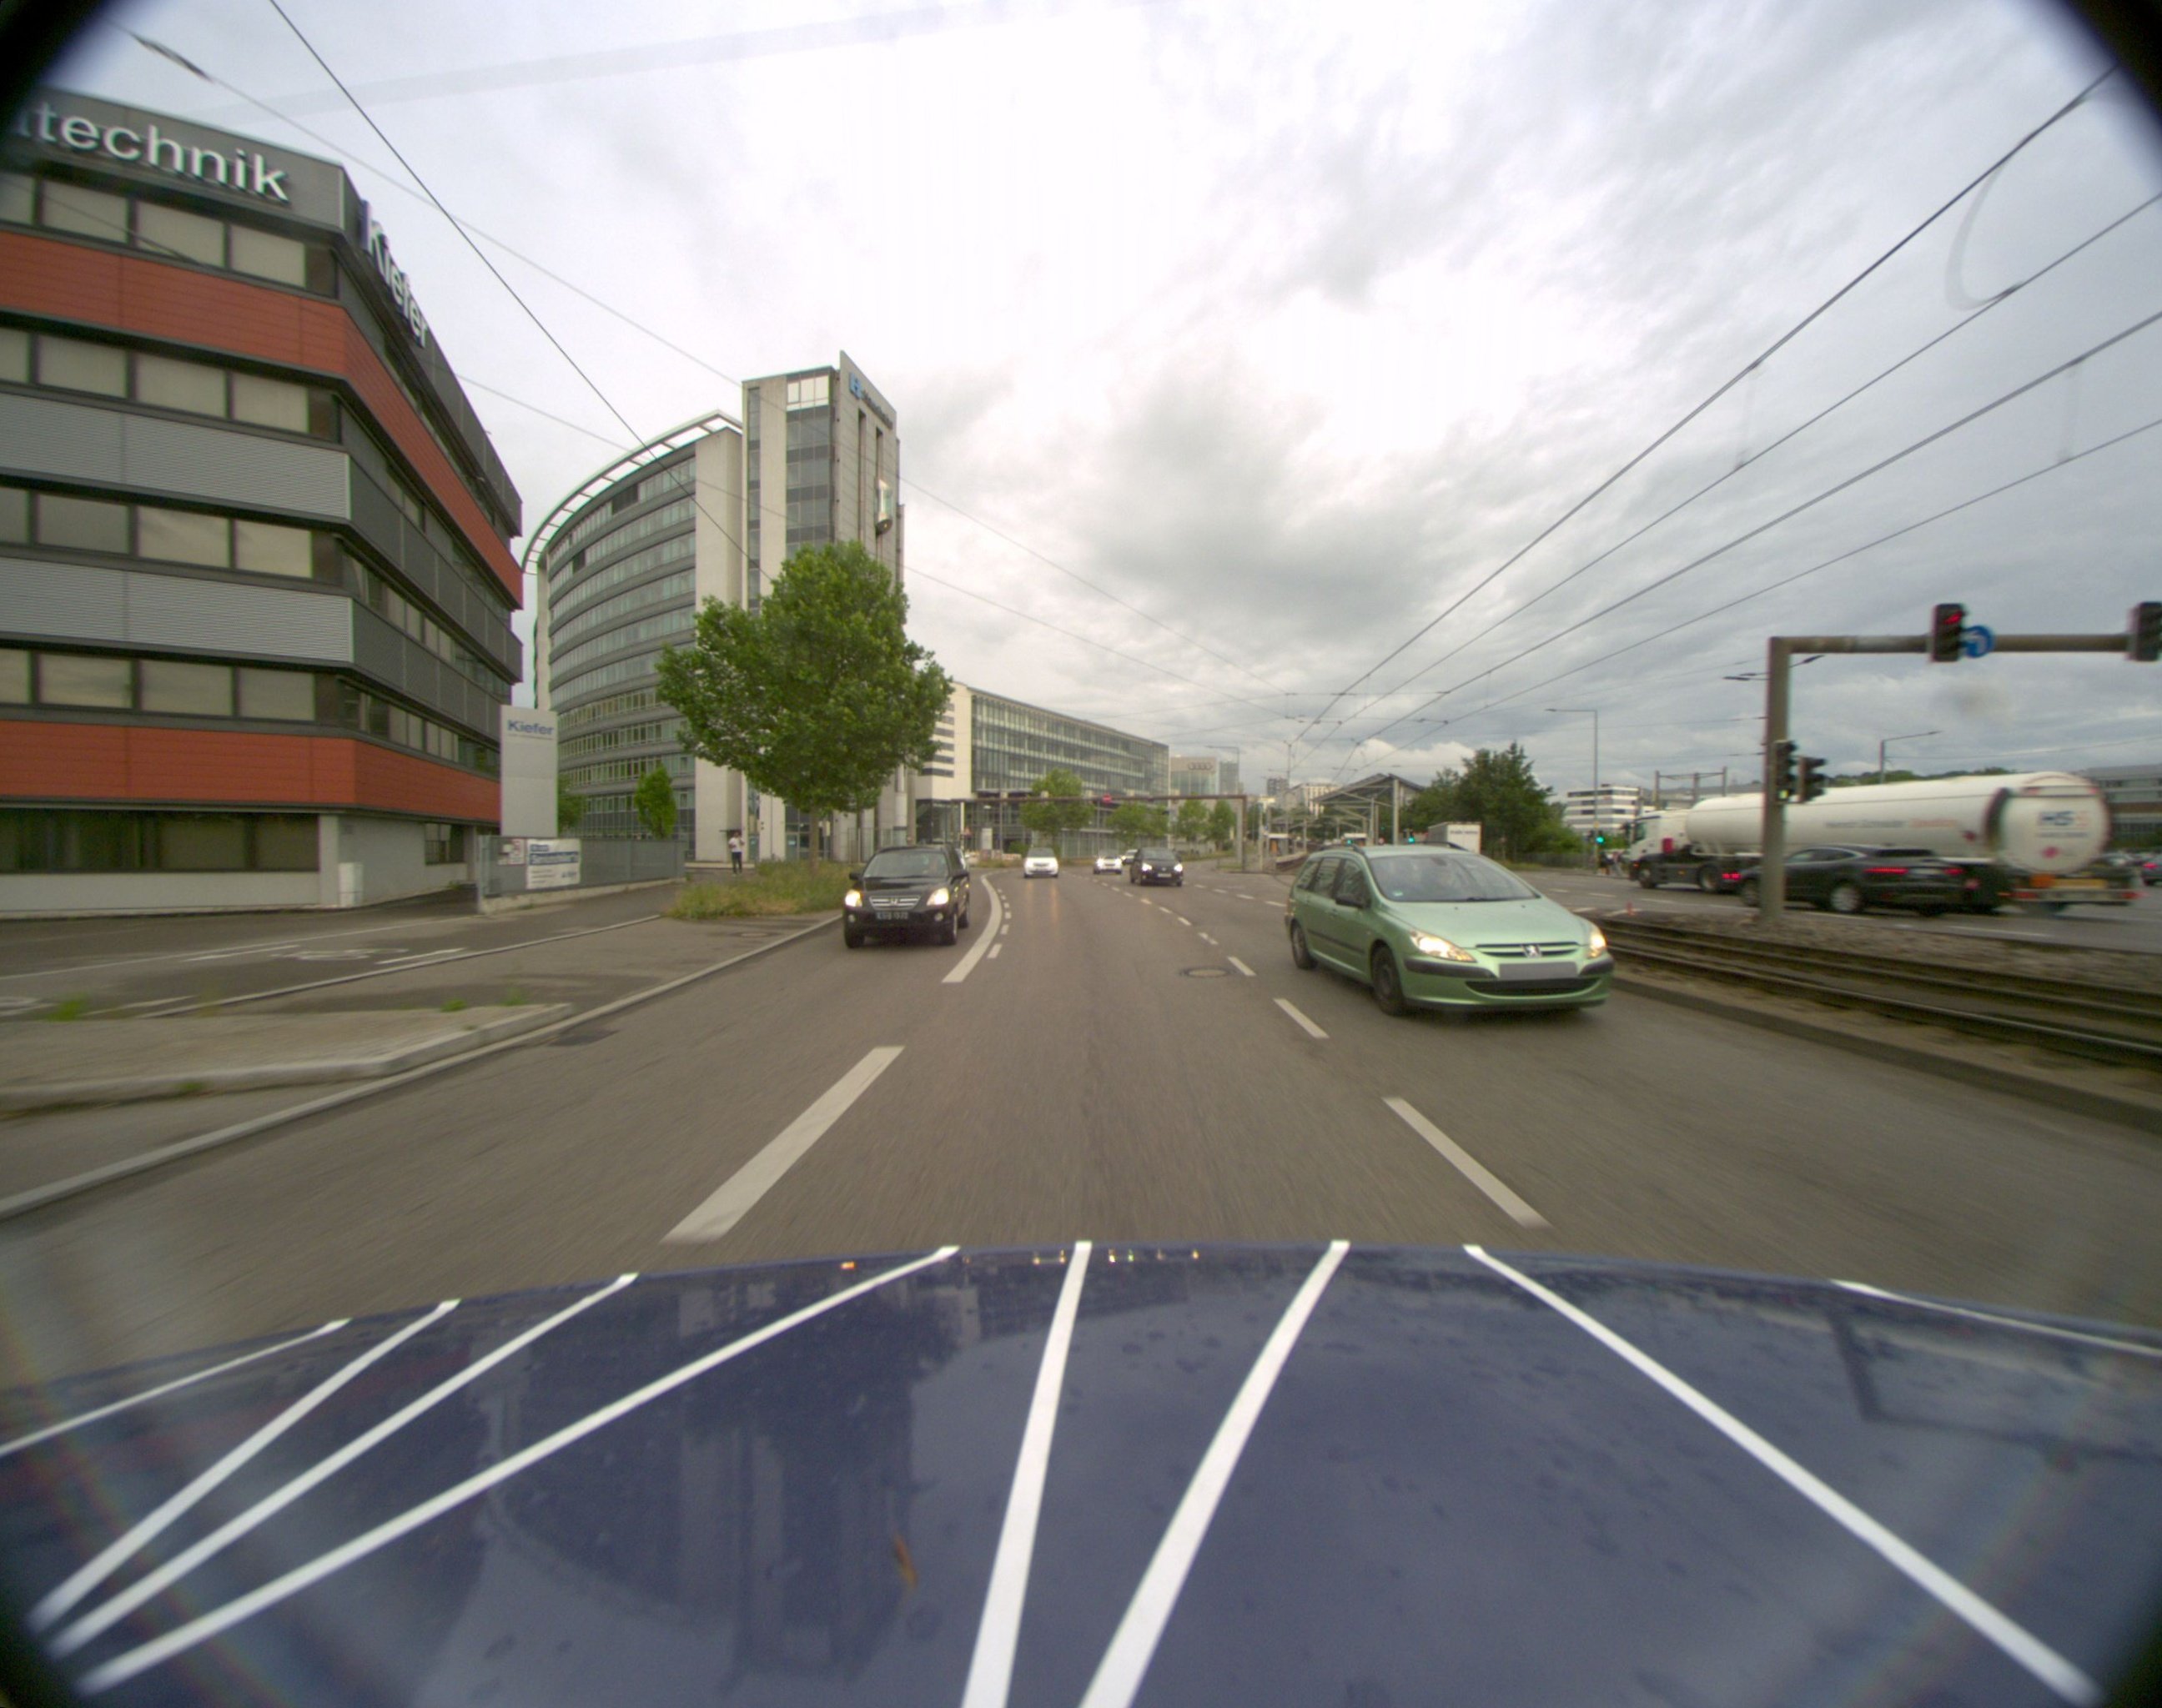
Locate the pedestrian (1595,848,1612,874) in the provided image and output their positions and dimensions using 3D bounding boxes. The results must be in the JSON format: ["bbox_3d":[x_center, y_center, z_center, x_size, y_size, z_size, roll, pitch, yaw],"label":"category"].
[{"bbox_3d":[34.861,0.443,50.724,0.727,1.695,0.740,-1,2,15],"label":"pedestrian"}]

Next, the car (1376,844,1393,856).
[{"bbox_3d":[41.948,-0.571,105.095,1.905,1.546,4.571,-2,1,17],"label":"car"}]

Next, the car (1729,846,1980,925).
[{"bbox_3d":[18.301,0.650,18.328,1.927,1.643,4.197,-1,1,4],"label":"car"}]

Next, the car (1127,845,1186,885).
[{"bbox_3d":[2.968,0.402,30.719,1.698,1.514,3.902,0,1,-4],"label":"car"}]

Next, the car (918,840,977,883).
[{"bbox_3d":[-5.542,0.270,32.006,1.999,1.669,3.820,1,1,-3],"label":"car"}]

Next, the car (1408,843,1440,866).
[{"bbox_3d":[30.072,0.056,66.696,1.996,1.826,4.915,-2,-1,18],"label":"car"}]

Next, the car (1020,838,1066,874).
[{"bbox_3d":[-2.009,0.074,38.815,1.807,1.713,3.995,-1,1,-11],"label":"car"}]

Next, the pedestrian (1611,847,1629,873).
[{"bbox_3d":[36.015,0.404,50.770,0.727,1.653,0.740,-1,2,15],"label":"pedestrian"}]

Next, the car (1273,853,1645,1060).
[{"bbox_3d":[3.419,0.777,7.945,1.699,1.460,4.403,-2,1,1],"label":"car"}]

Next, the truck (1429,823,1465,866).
[{"bbox_3d":[36.035,-0.979,74.955,2.668,4.107,6.194,1,2,21],"label":"truck"}]

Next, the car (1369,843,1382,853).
[{"bbox_3d":[48.603,-1.012,125.457,1.889,1.642,4.100,-2,1,19],"label":"car"}]

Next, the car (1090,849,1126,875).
[{"bbox_3d":[1.616,0.467,46.554,1.740,1.469,3.998,-2,0,-4],"label":"car"}]

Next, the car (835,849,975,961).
[{"bbox_3d":[-2.958,0.753,13.670,1.771,1.620,4.322,-2,1,-4],"label":"car"}]

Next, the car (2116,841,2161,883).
[{"bbox_3d":[46.606,0.298,32.619,4.653,1.600,1.994,-3,1,-43],"label":"car"}]

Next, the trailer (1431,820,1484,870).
[{"bbox_3d":[33.792,-0.892,68.684,2.652,4.101,12.762,1,1,19],"label":"trailer"}]

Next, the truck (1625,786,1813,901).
[{"bbox_3d":[23.218,-0.405,28.076,2.751,3.784,5.414,2,2,8],"label":"truck"}]

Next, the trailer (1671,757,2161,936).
[{"bbox_3d":[22.486,-0.282,22.117,2.730,3.833,11.231,1,1,6],"label":"trailer"}]

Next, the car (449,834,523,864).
[{"bbox_3d":[-41.226,-0.301,52.613,5.069,1.903,2.005,-1,-4,27],"label":"car"}]

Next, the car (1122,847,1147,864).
[{"bbox_3d":[6.111,0.151,86.094,1.826,1.701,4.158,-2,1,19],"label":"car"}]

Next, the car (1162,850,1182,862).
[{"bbox_3d":[12.032,0.231,100.555,1.699,1.514,3.830,0,2,21],"label":"car"}]

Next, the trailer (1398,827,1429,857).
[{"bbox_3d":[47.273,-1.635,108.288,2.797,4.083,11.458,1,0,18],"label":"trailer"}]

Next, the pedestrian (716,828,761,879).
[{"bbox_3d":[-14.502,-0.026,32.221,1.145,2.113,1.224,-1,1,18],"label":"pedestrian"}]

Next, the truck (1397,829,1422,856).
[{"bbox_3d":[49.222,-1.649,114.043,2.835,3.973,5.995,1,1,18],"label":"truck"}]
